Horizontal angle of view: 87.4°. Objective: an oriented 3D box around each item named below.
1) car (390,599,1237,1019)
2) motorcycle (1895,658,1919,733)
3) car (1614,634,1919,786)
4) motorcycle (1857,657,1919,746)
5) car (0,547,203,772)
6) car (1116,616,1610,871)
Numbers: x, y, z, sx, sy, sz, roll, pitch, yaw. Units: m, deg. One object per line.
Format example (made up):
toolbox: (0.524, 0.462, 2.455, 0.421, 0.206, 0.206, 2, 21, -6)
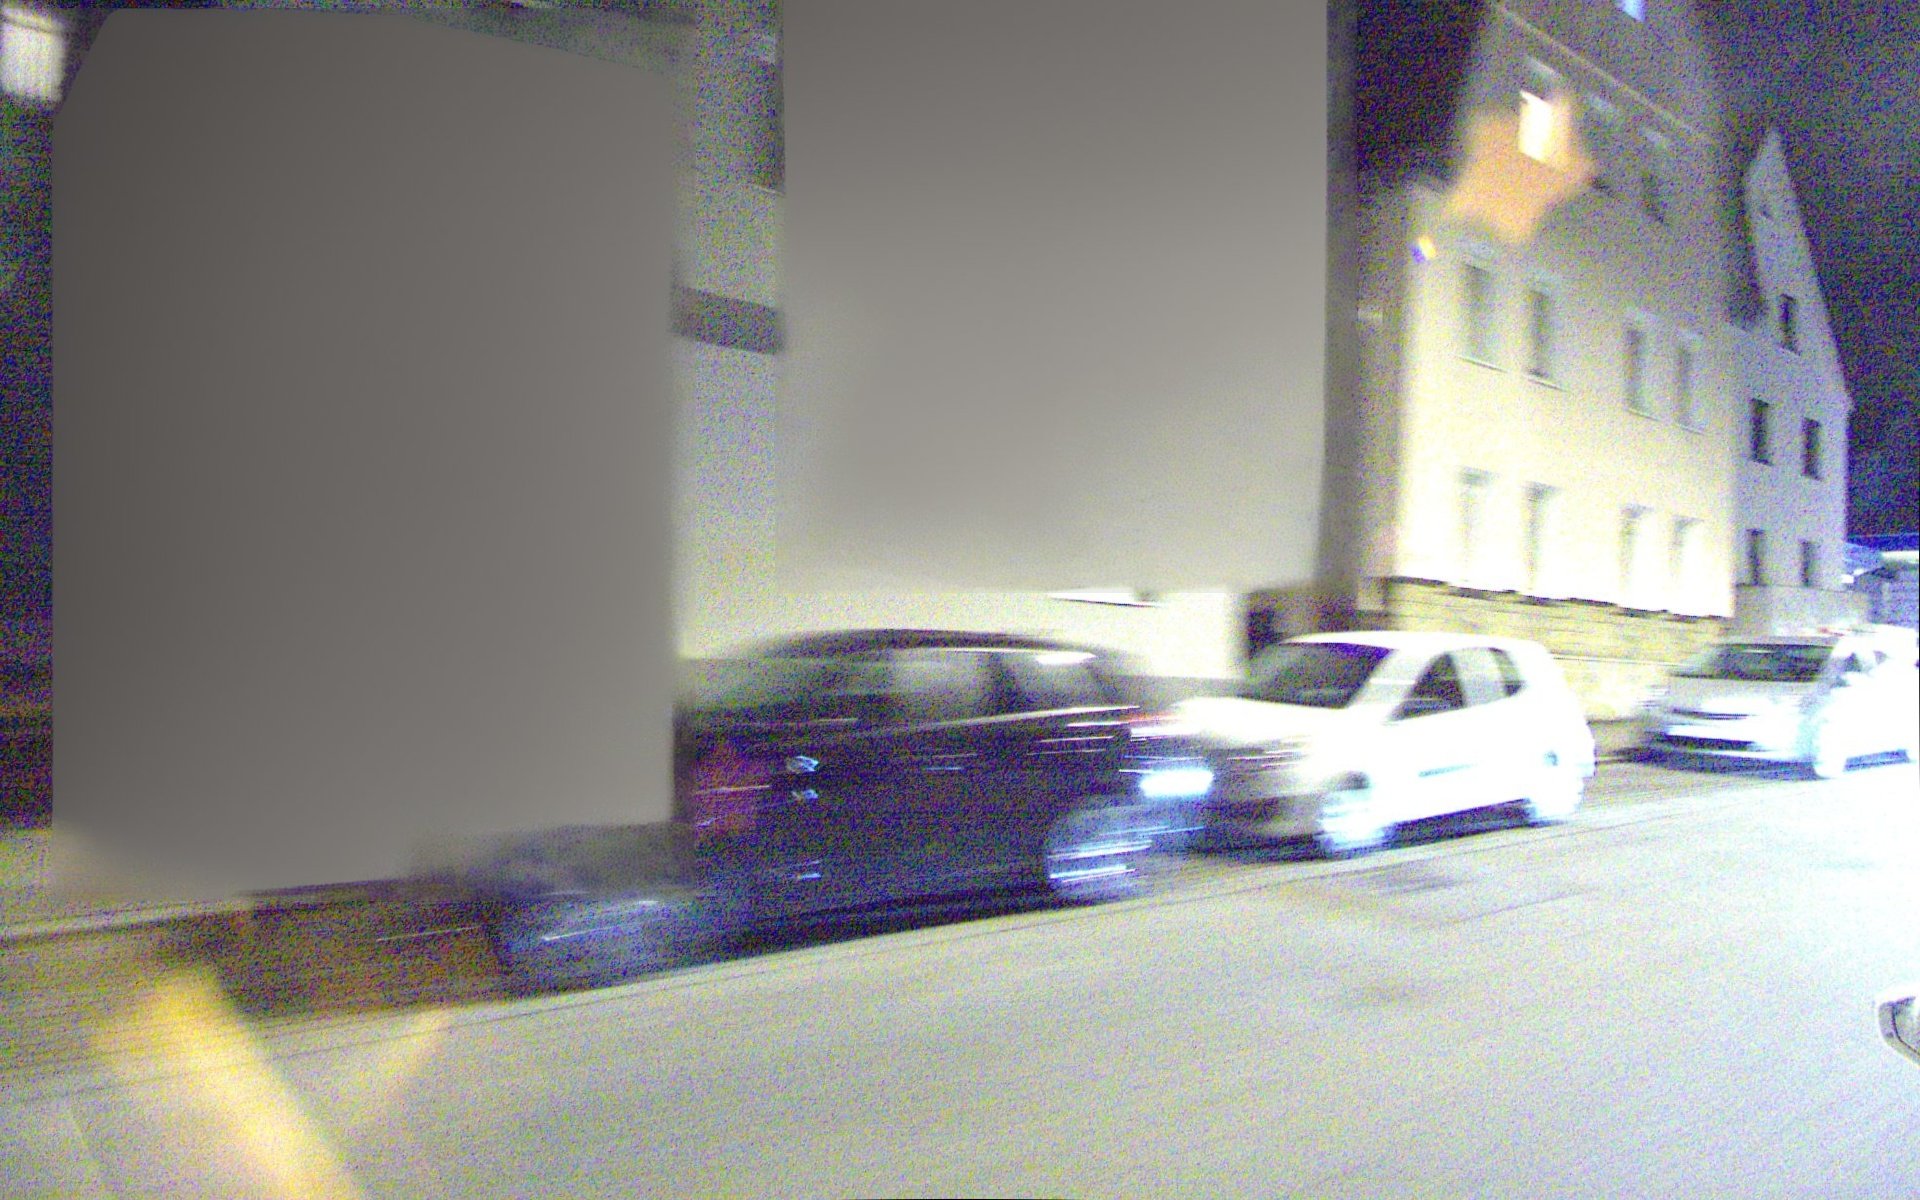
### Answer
car: (-0.673, 0.842, 5.556, 4.232, 1.511, 1.854, 3, -1, -32)
motorcycle: (15.099, 1.461, 14.775, 0.701, 1.146, 2.210, 0, -1, 3)
car: (9.697, 1.168, 11.849, 4.180, 1.511, 1.695, 1, -2, -32)
motorcycle: (13.362, 1.394, 13.795, 0.701, 1.162, 2.210, 0, -1, 17)
car: (-9.321, 0.503, 10.388, 1.938, 1.941, 3.965, 2, -1, -32)
car: (3.185, 0.955, 7.758, 3.738, 1.511, 1.613, 3, -1, -32)
